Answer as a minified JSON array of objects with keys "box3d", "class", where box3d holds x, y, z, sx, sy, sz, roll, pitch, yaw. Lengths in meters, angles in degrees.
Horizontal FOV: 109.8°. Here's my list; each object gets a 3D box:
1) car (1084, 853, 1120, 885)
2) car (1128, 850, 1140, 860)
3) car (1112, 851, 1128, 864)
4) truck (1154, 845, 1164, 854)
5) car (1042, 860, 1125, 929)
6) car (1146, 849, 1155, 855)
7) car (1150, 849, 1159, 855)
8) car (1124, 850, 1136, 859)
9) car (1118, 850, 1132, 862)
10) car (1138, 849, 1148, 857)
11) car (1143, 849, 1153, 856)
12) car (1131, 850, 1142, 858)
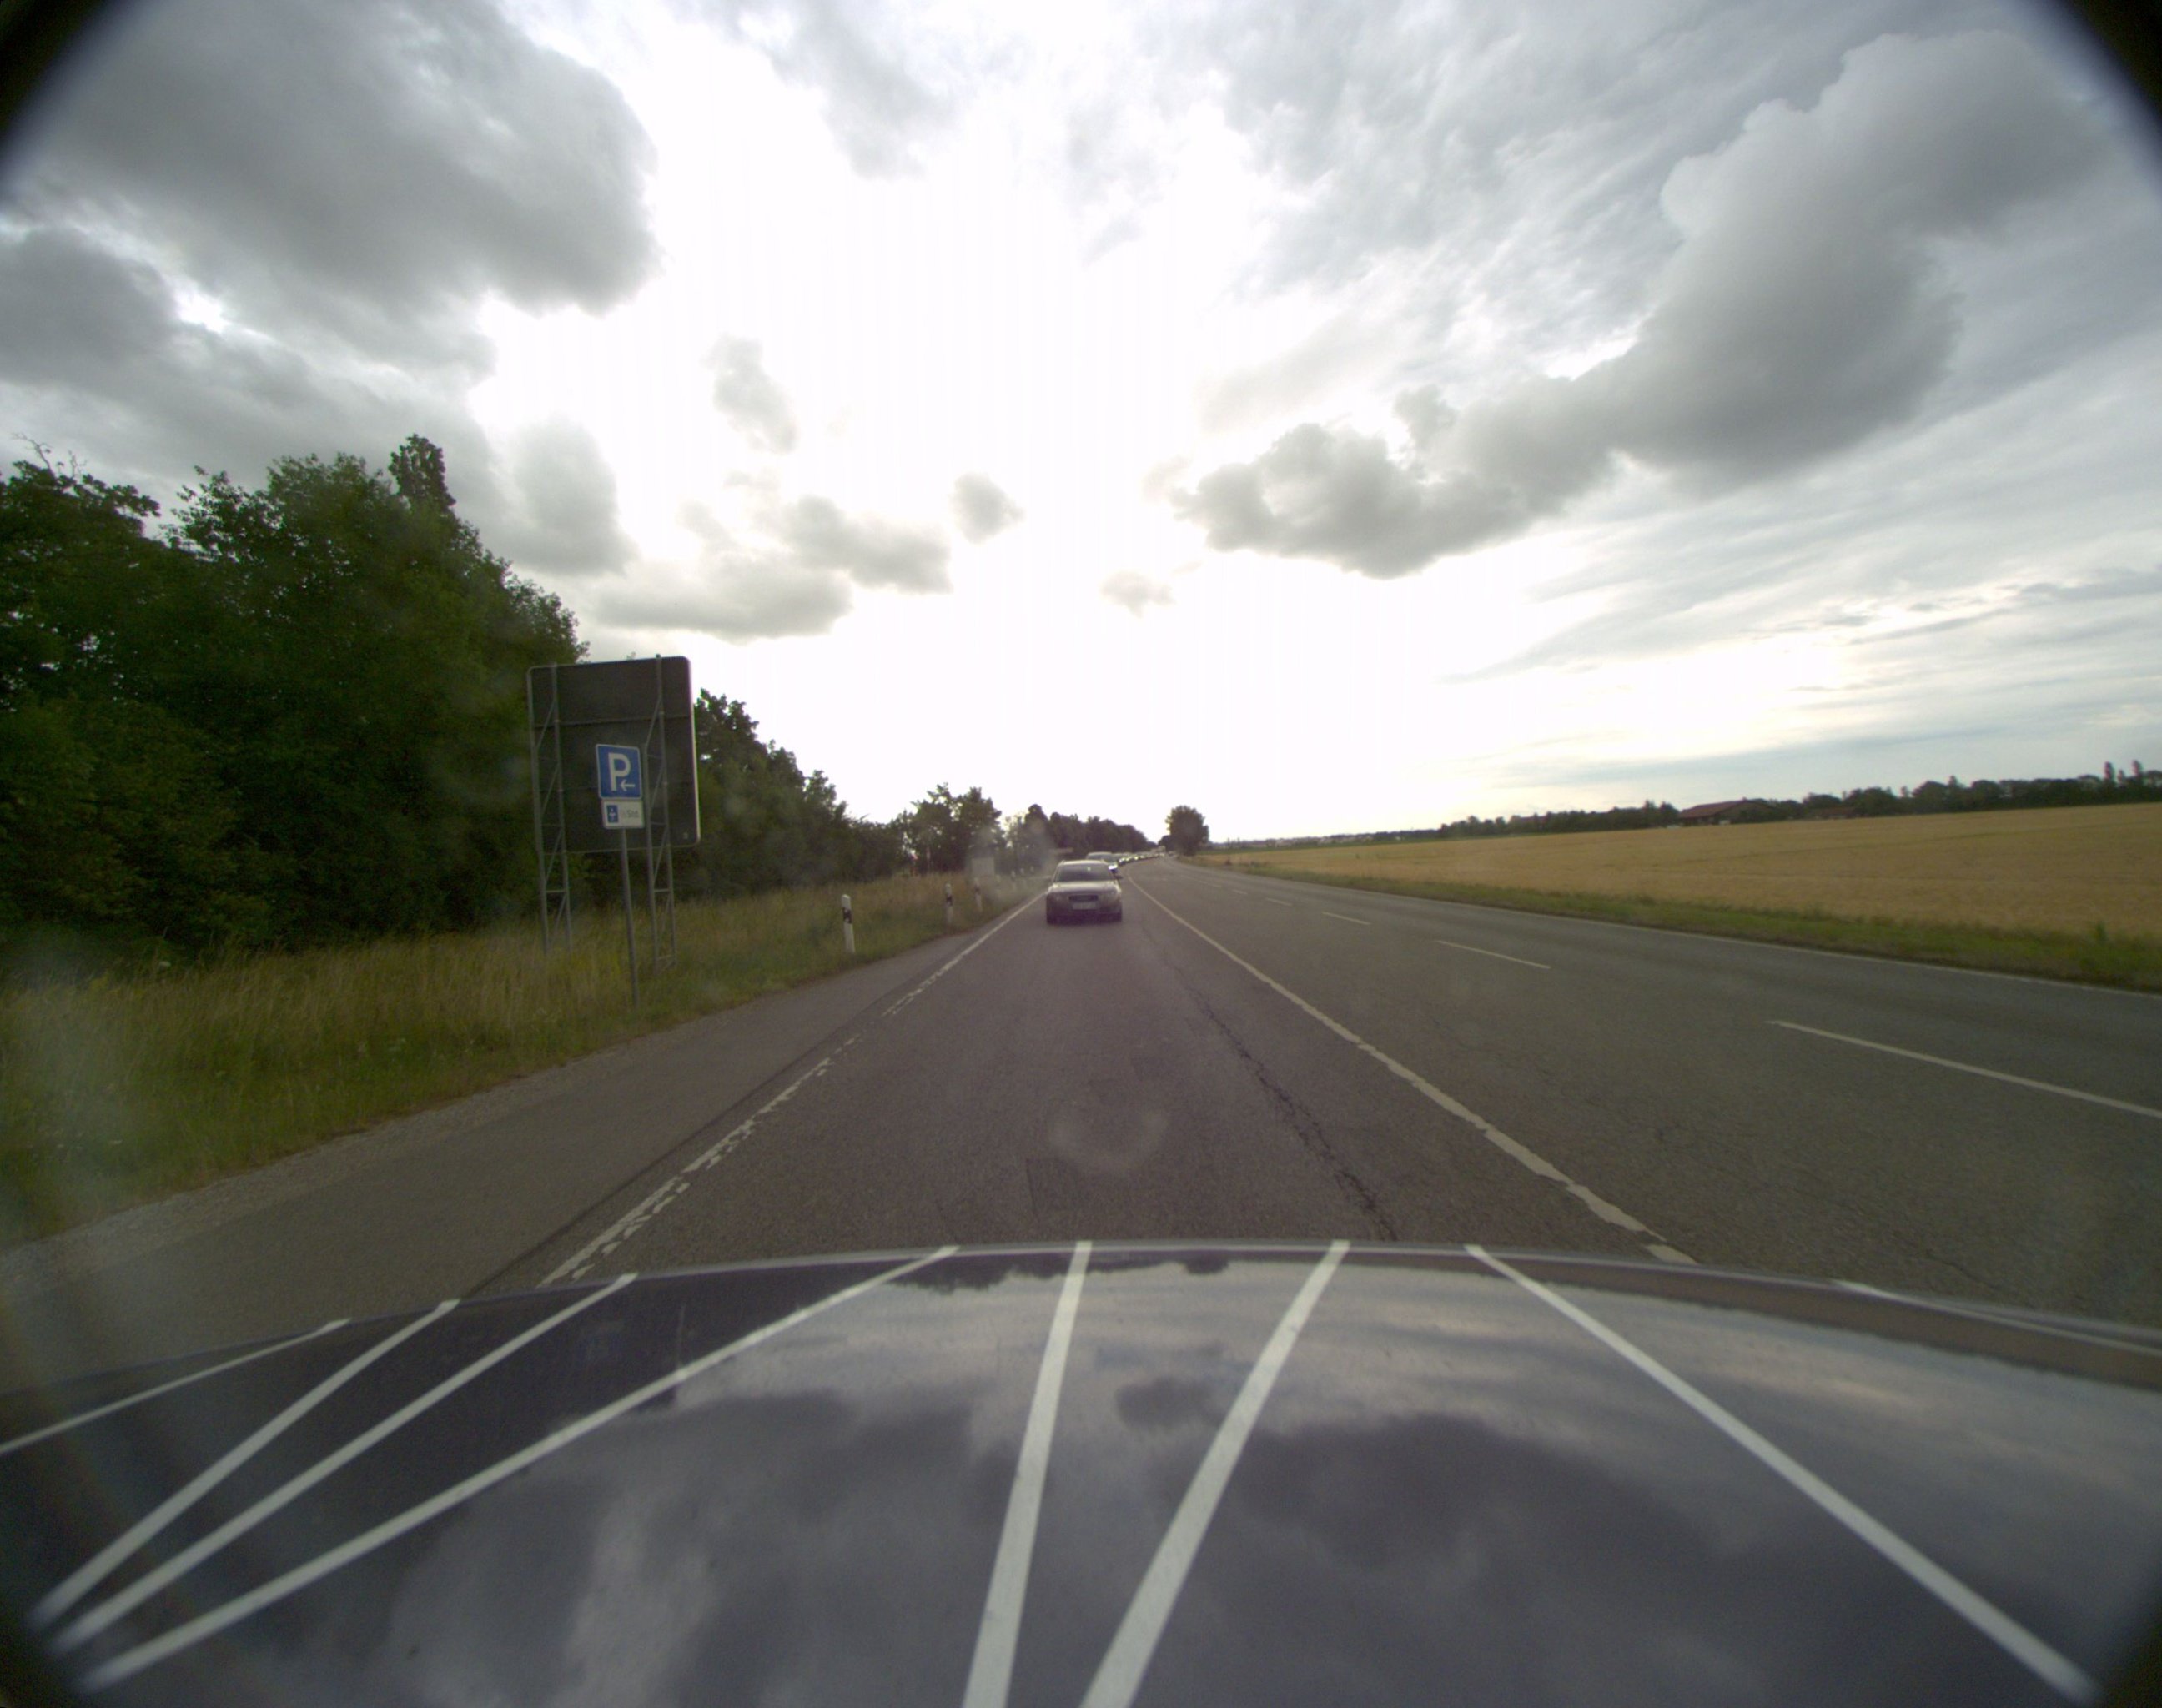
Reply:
[{"box3d":[1.154,0.766,41.247,1.793,1.573,4.368,-2,0,2],"class":"car"},{"box3d":[8.795,0.183,126.323,1.793,1.573,4.189,-2,0,6],"class":"car"},{"box3d":[4.969,0.468,96.278,1.793,1.573,4.369,-2,0,5],"class":"car"},{"box3d":[24.517,-1.355,238.765,2.318,2.749,7.678,-3,0,10],"class":"truck"},{"box3d":[0.106,0.921,18.938,1.793,1.415,4.367,-2,0,1],"class":"car"},{"box3d":[17.671,-0.500,192.115,1.792,1.573,4.140,-2,0,11],"class":"car"},{"box3d":[20.613,-0.654,212.238,1.792,1.531,4.140,-2,0,13],"class":"car"},{"box3d":[8.945,0.080,137.726,1.793,1.573,4.139,-2,0,8],"class":"car"},{"box3d":[6.343,0.299,108.670,1.793,1.573,4.189,-2,0,6],"class":"car"},{"box3d":[13.561,-0.211,165.403,1.792,1.573,4.140,-2,0,10],"class":"car"},{"box3d":[15.964,-0.408,181.455,1.792,1.573,4.140,-2,0,11],"class":"car"},{"box3d":[10.931,0.010,149.882,1.793,1.573,4.139,-2,0,8],"class":"car"}]
